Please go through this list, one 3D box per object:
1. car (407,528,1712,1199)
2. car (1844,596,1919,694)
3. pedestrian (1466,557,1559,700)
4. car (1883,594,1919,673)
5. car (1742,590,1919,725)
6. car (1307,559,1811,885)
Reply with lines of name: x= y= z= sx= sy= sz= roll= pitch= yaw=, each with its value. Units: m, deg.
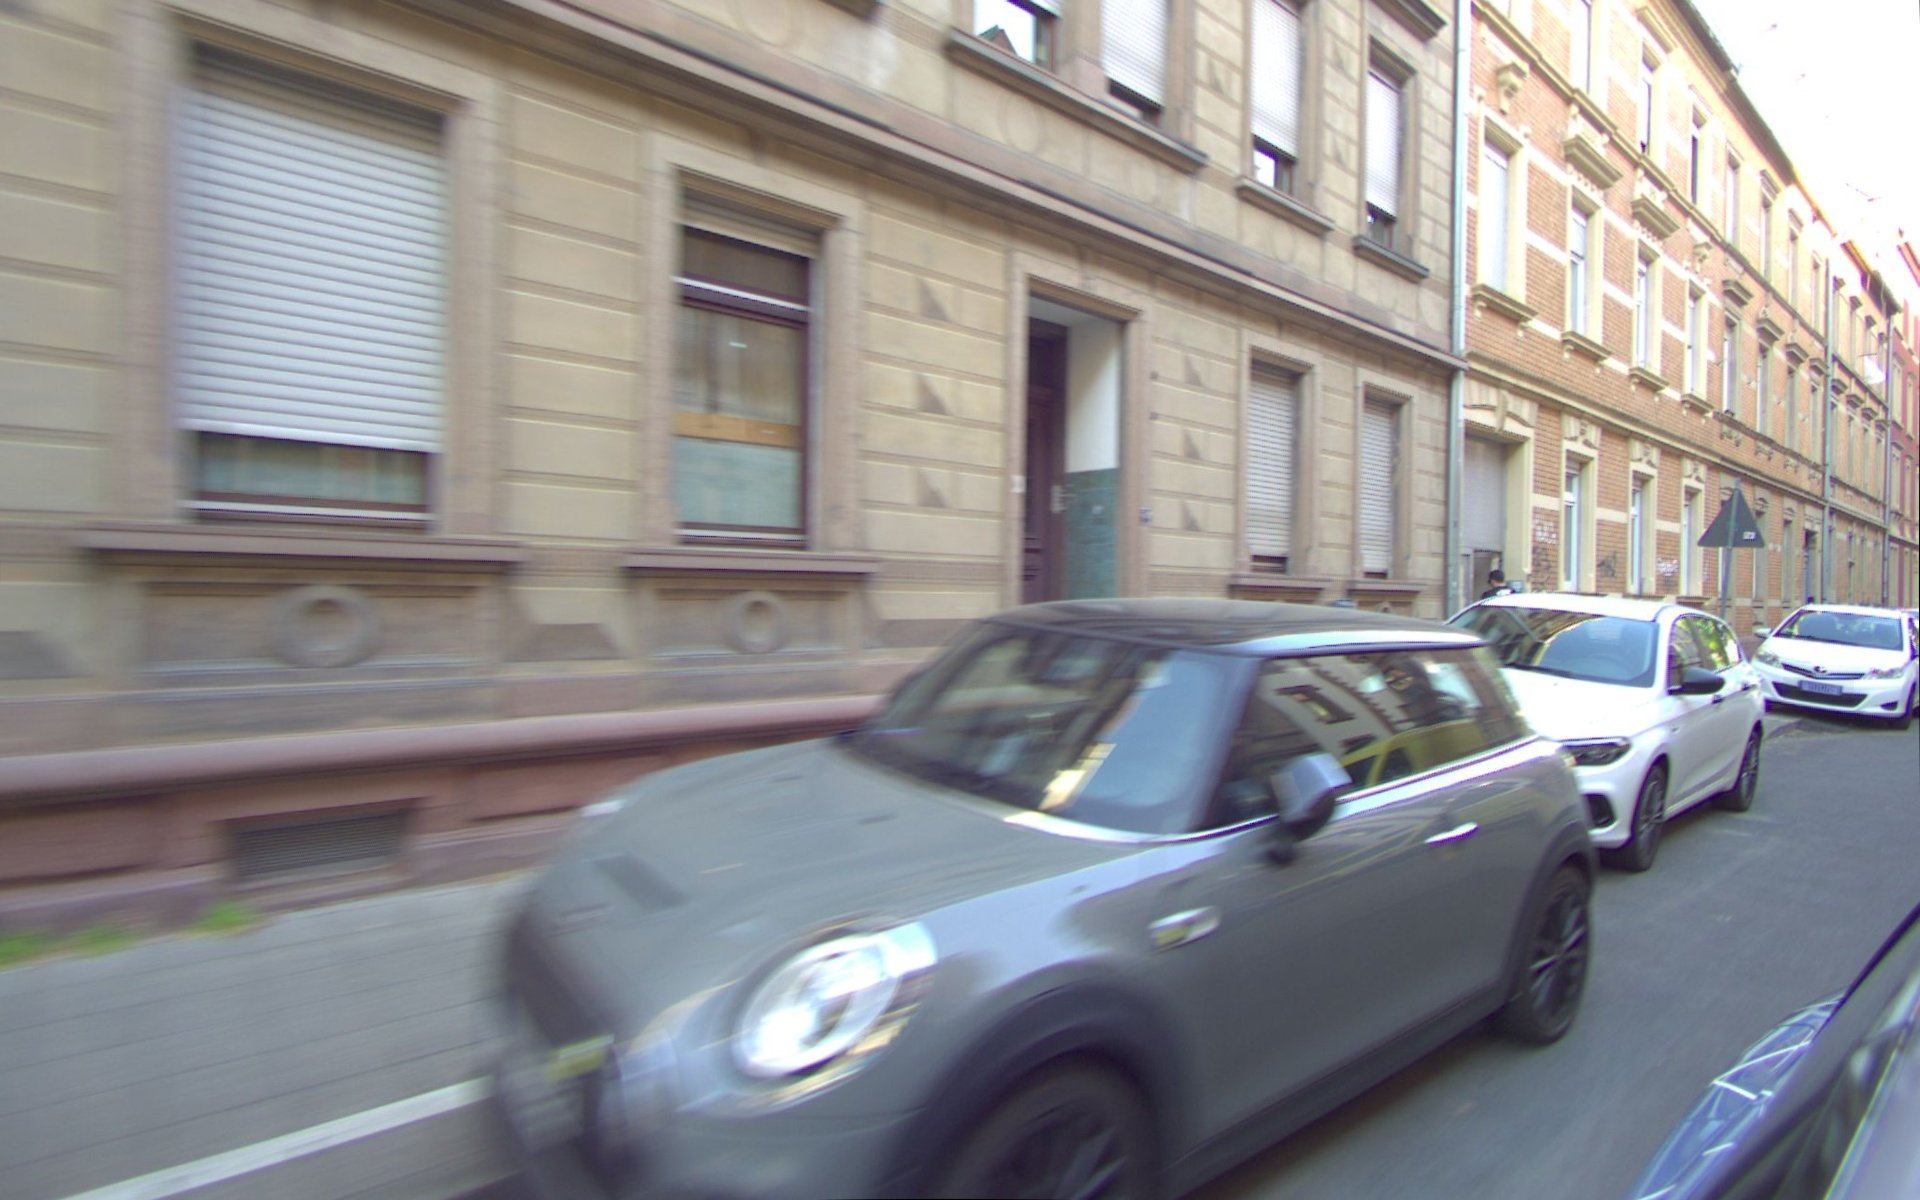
car: x=0.727 y=0.650 z=3.342 sx=4.210 sy=1.470 sz=1.759 roll=1 pitch=5 yaw=-39
car: x=16.430 y=0.727 z=17.093 sx=4.000 sy=1.463 sz=1.757 roll=0 pitch=4 yaw=-43
pedestrian: x=6.700 y=0.312 z=12.313 sx=0.644 sy=1.650 sz=0.879 roll=2 pitch=2 yaw=8
car: x=19.900 y=0.700 z=20.210 sx=4.024 sy=1.434 sz=1.729 roll=0 pitch=5 yaw=-43
car: x=12.531 y=0.691 z=14.142 sx=4.012 sy=1.498 sz=1.725 roll=0 pitch=5 yaw=-42
car: x=4.450 y=0.608 z=7.200 sx=4.366 sy=1.536 sz=1.758 roll=1 pitch=5 yaw=-42
